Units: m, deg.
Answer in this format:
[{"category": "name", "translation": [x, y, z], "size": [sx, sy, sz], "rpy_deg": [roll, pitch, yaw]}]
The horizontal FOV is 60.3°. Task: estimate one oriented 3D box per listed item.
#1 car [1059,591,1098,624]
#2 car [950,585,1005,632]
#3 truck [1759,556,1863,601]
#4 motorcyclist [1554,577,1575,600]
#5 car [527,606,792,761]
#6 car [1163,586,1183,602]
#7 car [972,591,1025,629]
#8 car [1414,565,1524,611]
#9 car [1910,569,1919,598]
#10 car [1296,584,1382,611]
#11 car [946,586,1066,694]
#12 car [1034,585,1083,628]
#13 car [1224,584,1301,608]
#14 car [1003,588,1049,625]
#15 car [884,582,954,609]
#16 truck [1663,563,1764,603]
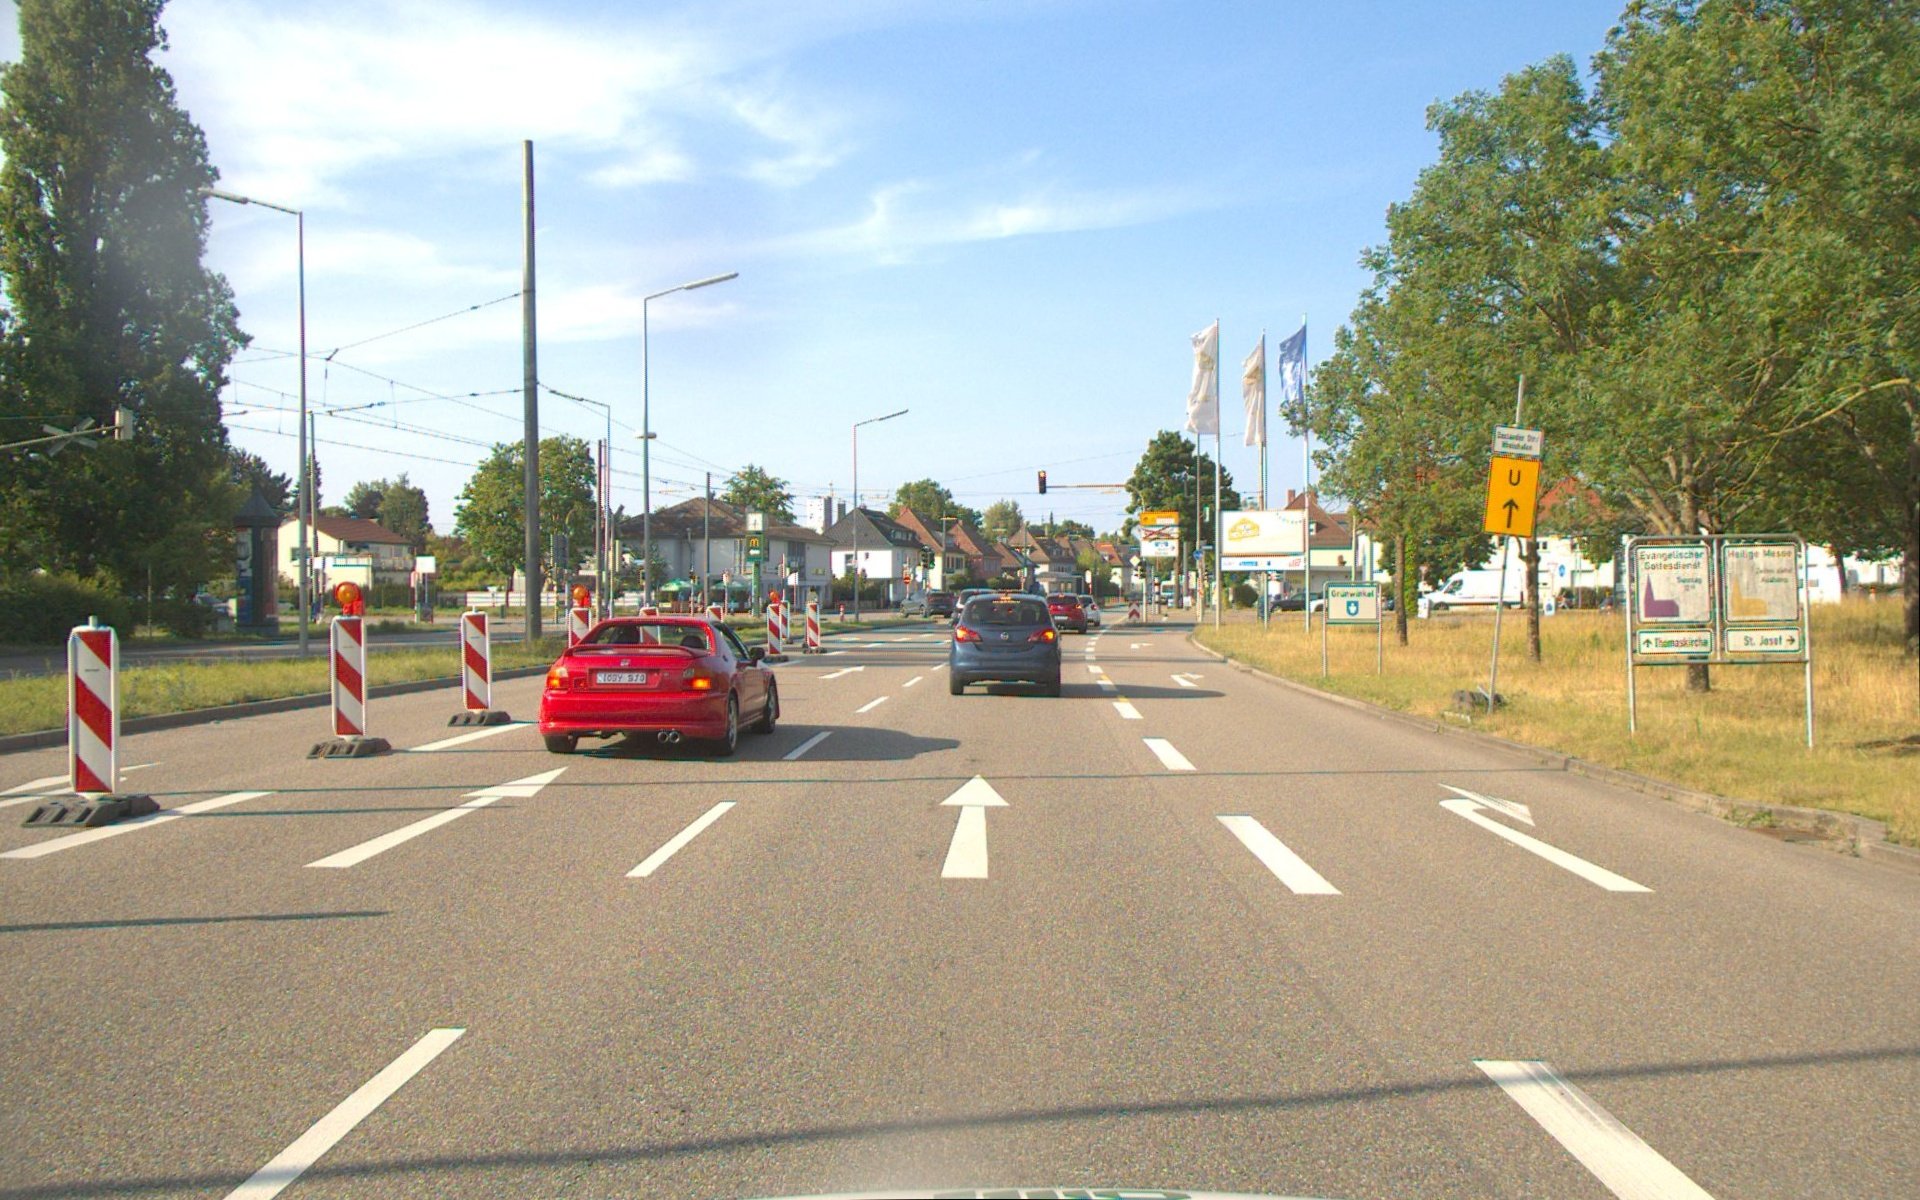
[{"category": "car", "translation": [5.503, 0.335, 76.605], "size": [1.621, 1.468, 4.017], "rpy_deg": [-1, 0, 6]}, {"category": "car", "translation": [0.694, 0.297, 61.722], "size": [1.726, 1.700, 4.087], "rpy_deg": [0, 1, 5]}, {"category": "truck", "translation": [57.136, -1.430, 111.179], "size": [1.876, 2.904, 5.997], "rpy_deg": [-1, 0, -37]}, {"category": "motorcyclist", "translation": [35.636, -0.689, 97.498], "size": [1.043, 1.375, 0.680], "rpy_deg": [0, 0, 7]}, {"category": "car", "translation": [-2.749, 0.713, 15.957], "size": [1.695, 1.227, 3.848], "rpy_deg": [1, 1, 2]}, {"category": "car", "translation": [19.291, -0.554, 149.535], "size": [1.639, 1.422, 4.003], "rpy_deg": [1, 0, 9]}, {"category": "car", "translation": [1.652, 0.394, 69.928], "size": [1.663, 1.534, 4.557], "rpy_deg": [0, 1, 9]}, {"category": "car", "translation": [30.469, -0.709, 99.174], "size": [6.075, 2.629, 2.002], "rpy_deg": [0, 0, 9]}, {"category": "car", "translation": [66.230, -1.149, 111.009], "size": [1.876, 1.953, 3.857], "rpy_deg": [-1, 0, -37]}, {"category": "car", "translation": [22.939, -0.165, 100.286], "size": [4.986, 1.590, 1.841], "rpy_deg": [-1, 0, 9]}, {"category": "car", "translation": [0.650, 0.559, 25.905], "size": [1.706, 1.532, 4.222], "rpy_deg": [0, 1, 0]}, {"category": "car", "translation": [3.807, 0.221, 63.390], "size": [1.670, 1.579, 3.980], "rpy_deg": [-1, 0, 6]}, {"category": "car", "translation": [19.115, -0.239, 104.558], "size": [4.720, 1.436, 1.717], "rpy_deg": [-1, 0, 9]}, {"category": "car", "translation": [3.119, 0.274, 77.417], "size": [1.474, 1.680, 4.748], "rpy_deg": [0, 0, 11]}, {"category": "car", "translation": [-2.439, -0.260, 97.795], "size": [1.985, 1.512, 3.935], "rpy_deg": [-1, 1, -44]}, {"category": "truck", "translation": [50.944, -1.168, 111.958], "size": [2.243, 2.568, 6.304], "rpy_deg": [-1, 1, -26]}]
